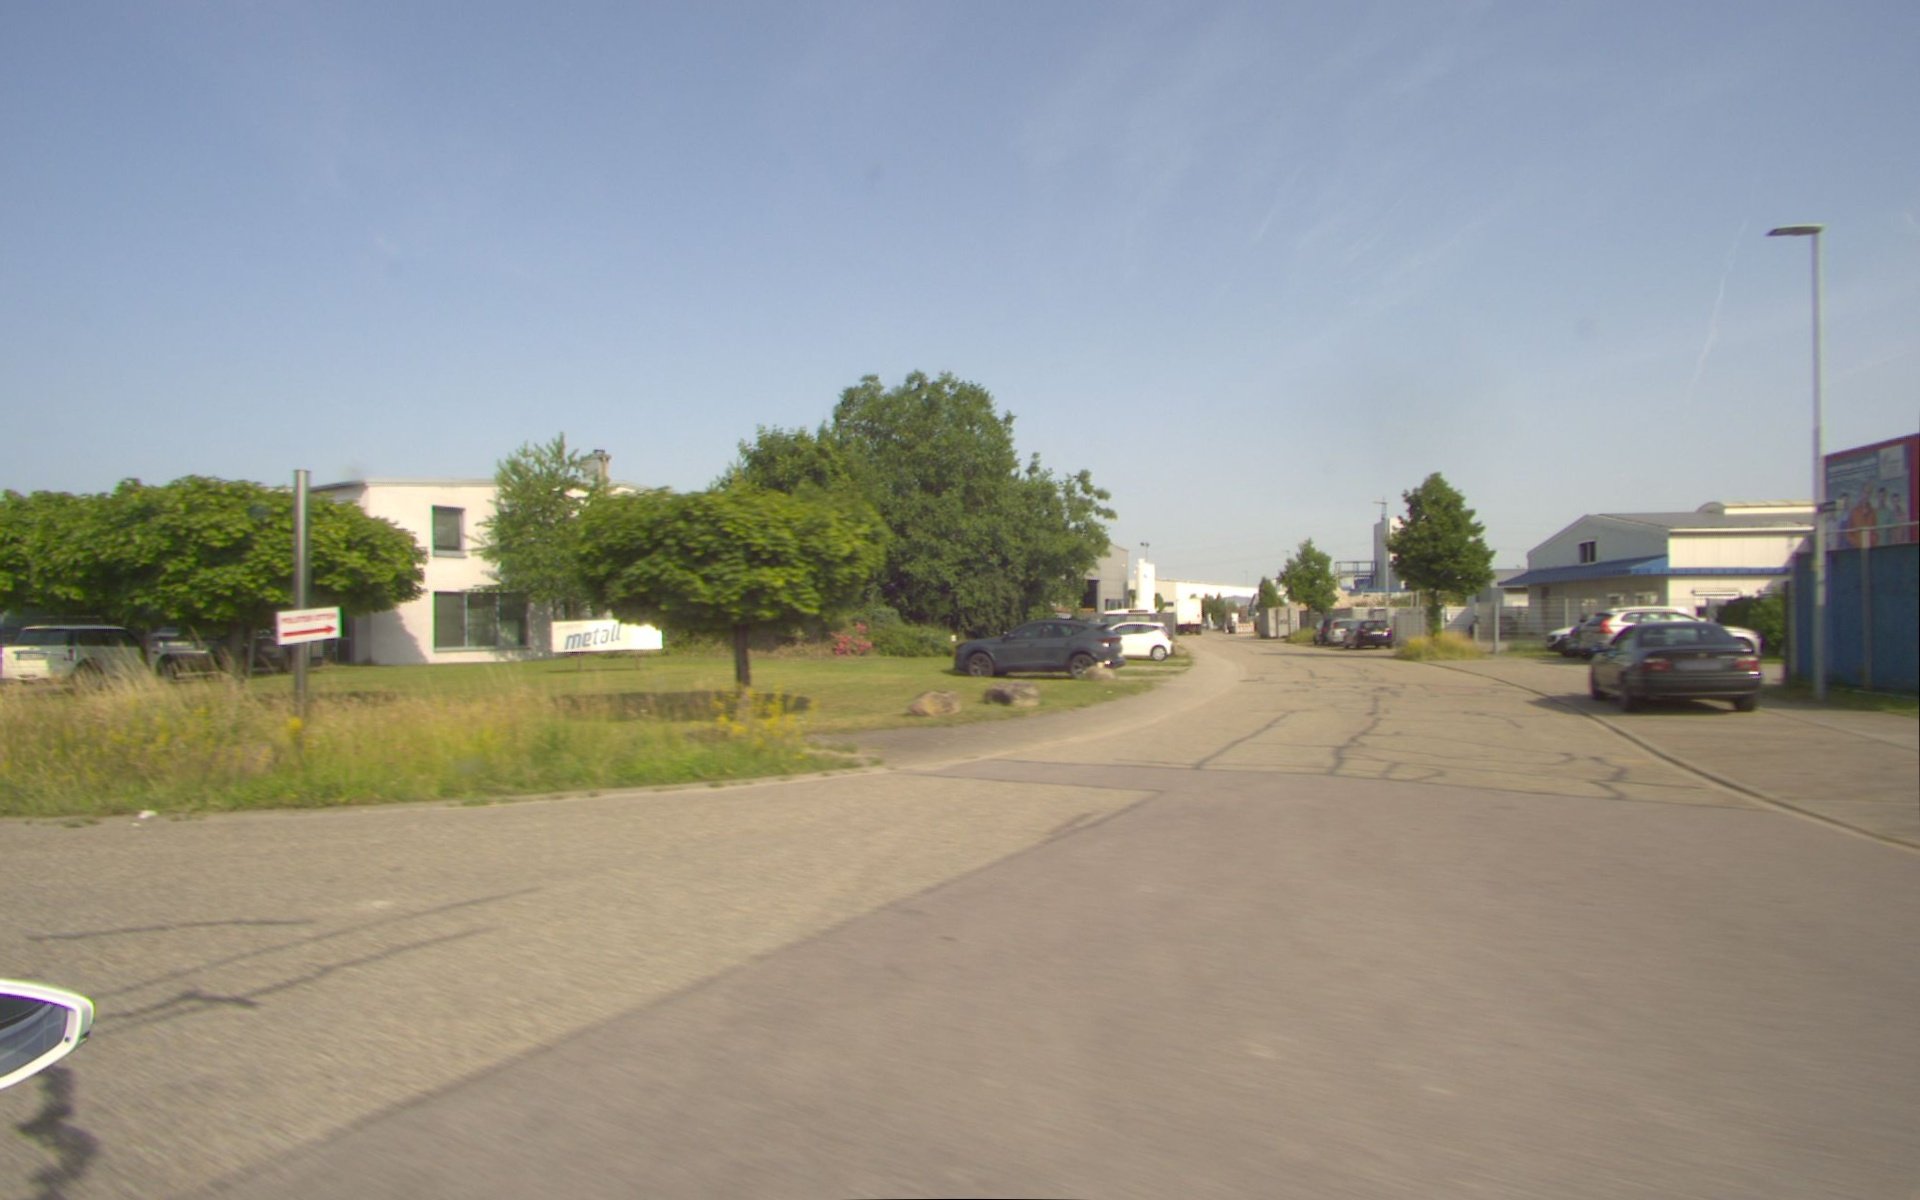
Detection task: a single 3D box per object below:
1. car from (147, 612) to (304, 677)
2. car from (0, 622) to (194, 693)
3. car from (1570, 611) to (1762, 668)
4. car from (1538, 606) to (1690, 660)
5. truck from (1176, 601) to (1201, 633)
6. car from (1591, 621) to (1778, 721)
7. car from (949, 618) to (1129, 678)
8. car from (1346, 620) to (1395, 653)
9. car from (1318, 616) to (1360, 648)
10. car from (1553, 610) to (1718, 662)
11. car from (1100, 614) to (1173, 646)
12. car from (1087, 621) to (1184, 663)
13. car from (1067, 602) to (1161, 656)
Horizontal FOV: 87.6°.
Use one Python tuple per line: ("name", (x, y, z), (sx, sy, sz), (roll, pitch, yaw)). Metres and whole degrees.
("car", (-19.783, 1.189, 27.225), (1.656, 1.609, 4.531), (0, -2, -11))
("car", (-19.153, 1.207, 22.281), (1.655, 1.398, 3.697), (0, -1, -7))
("car", (21.275, 1.169, 30.340), (4.383, 1.654, 1.786), (-1, 0, 13))
("car", (22.995, 1.156, 35.376), (4.128, 1.821, 1.714), (-1, 0, 13))
("truck", (25.185, 1.923, 110.323), (2.492, 3.414, 7.670), (0, -1, 14))
("car", (12.137, 1.112, 17.078), (1.782, 1.427, 4.457), (-2, -1, 26))
("car", (2.036, 1.185, 25.539), (4.271, 1.427, 1.783), (-1, 0, 20))
("car", (20.544, 1.800, 50.280), (1.801, 1.541, 3.585), (-1, -1, 15))
("car", (21.495, 1.787, 56.908), (1.964, 1.750, 3.994), (-1, -1, 18))
("car", (22.069, 1.164, 32.877), (4.128, 1.654, 1.786), (-1, 0, 13))
("car", (8.319, 1.400, 47.004), (3.256, 1.428, 1.561), (1, 0, 14))
("car", (6.648, 1.583, 37.804), (3.454, 1.469, 1.561), (-2, -1, 14))
("car", (6.412, 1.183, 41.689), (3.639, 1.983, 1.683), (3, 1, 14))
